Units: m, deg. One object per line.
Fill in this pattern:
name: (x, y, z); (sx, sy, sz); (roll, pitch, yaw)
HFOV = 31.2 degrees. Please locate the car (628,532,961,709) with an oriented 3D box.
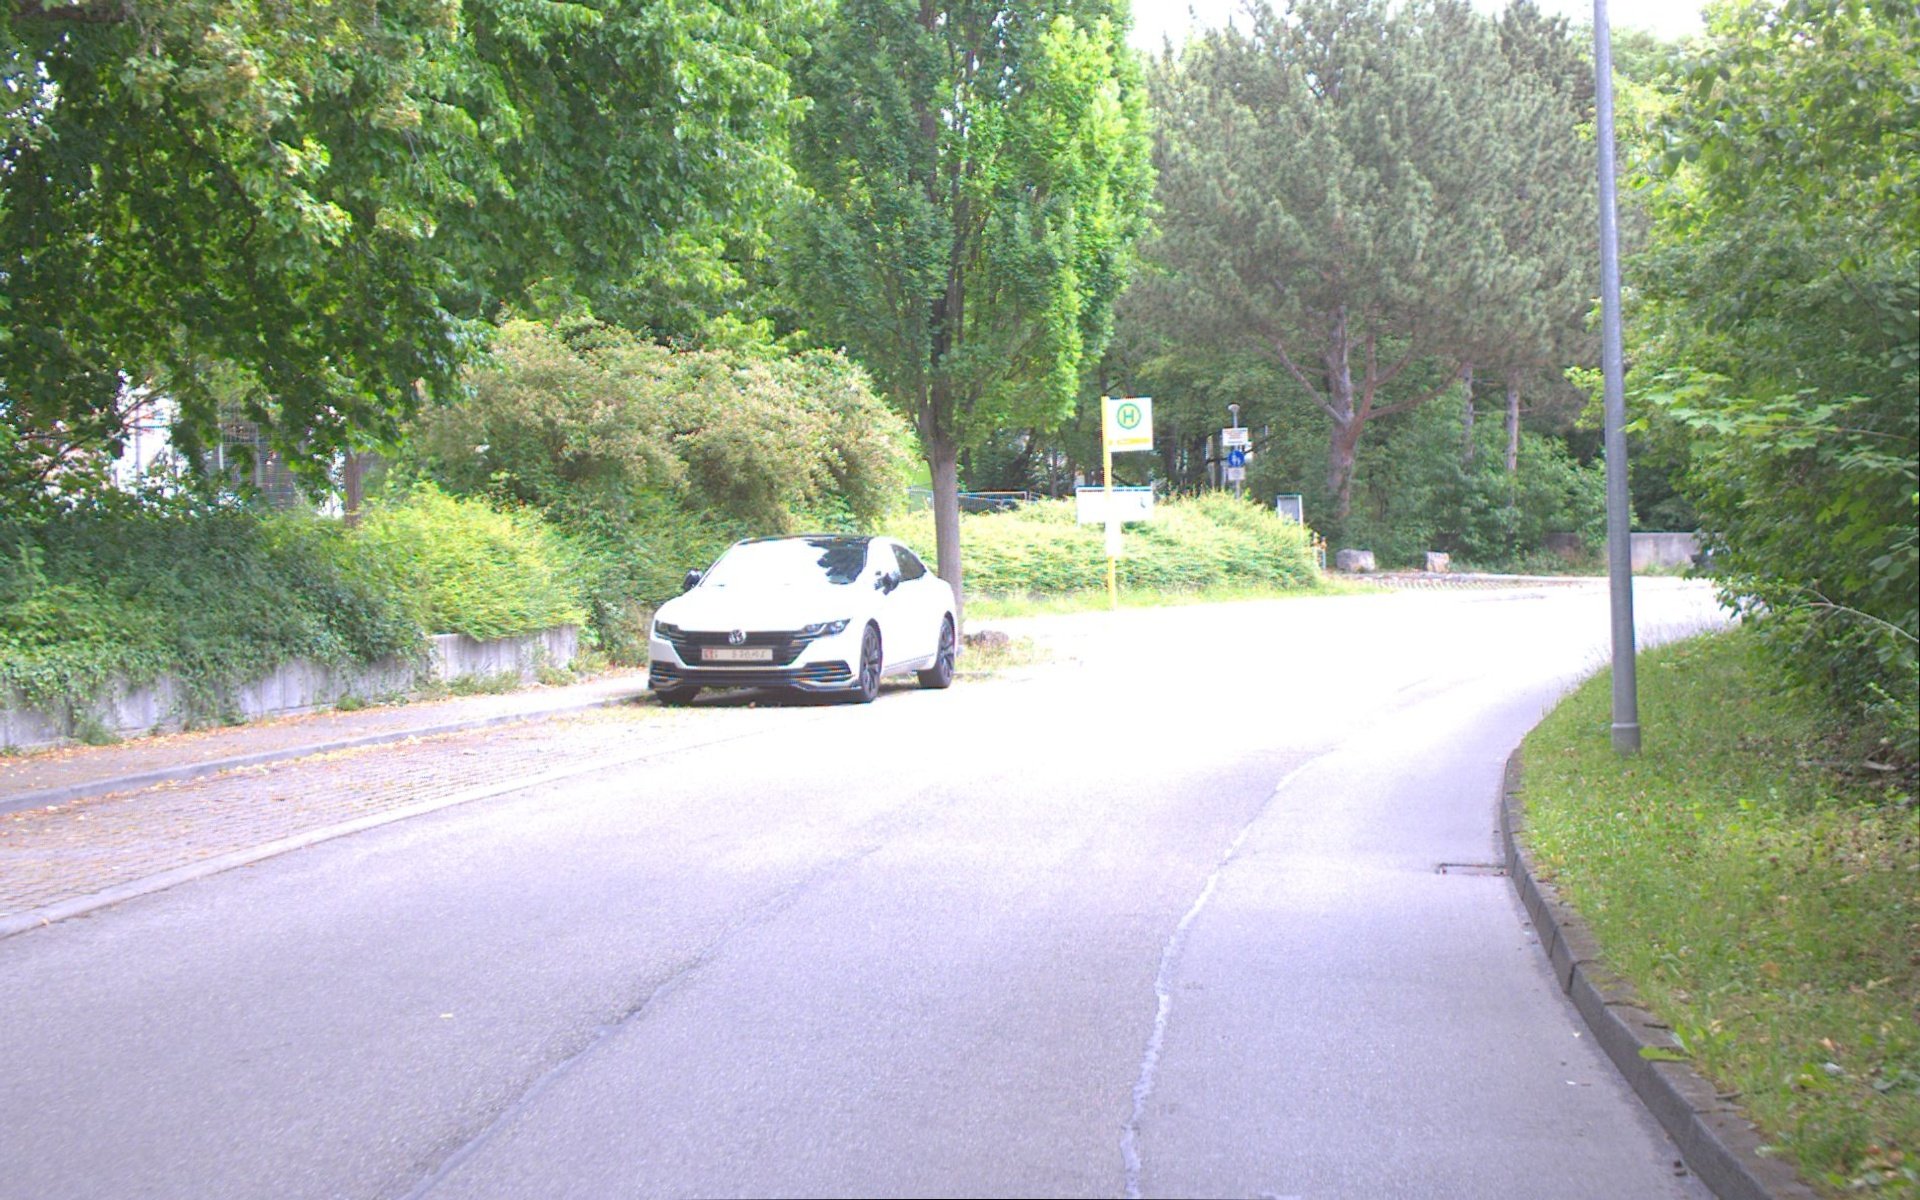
car: (-1.346, 0.124, 29.901); (1.815, 1.419, 4.358); (0, 1, 12)
